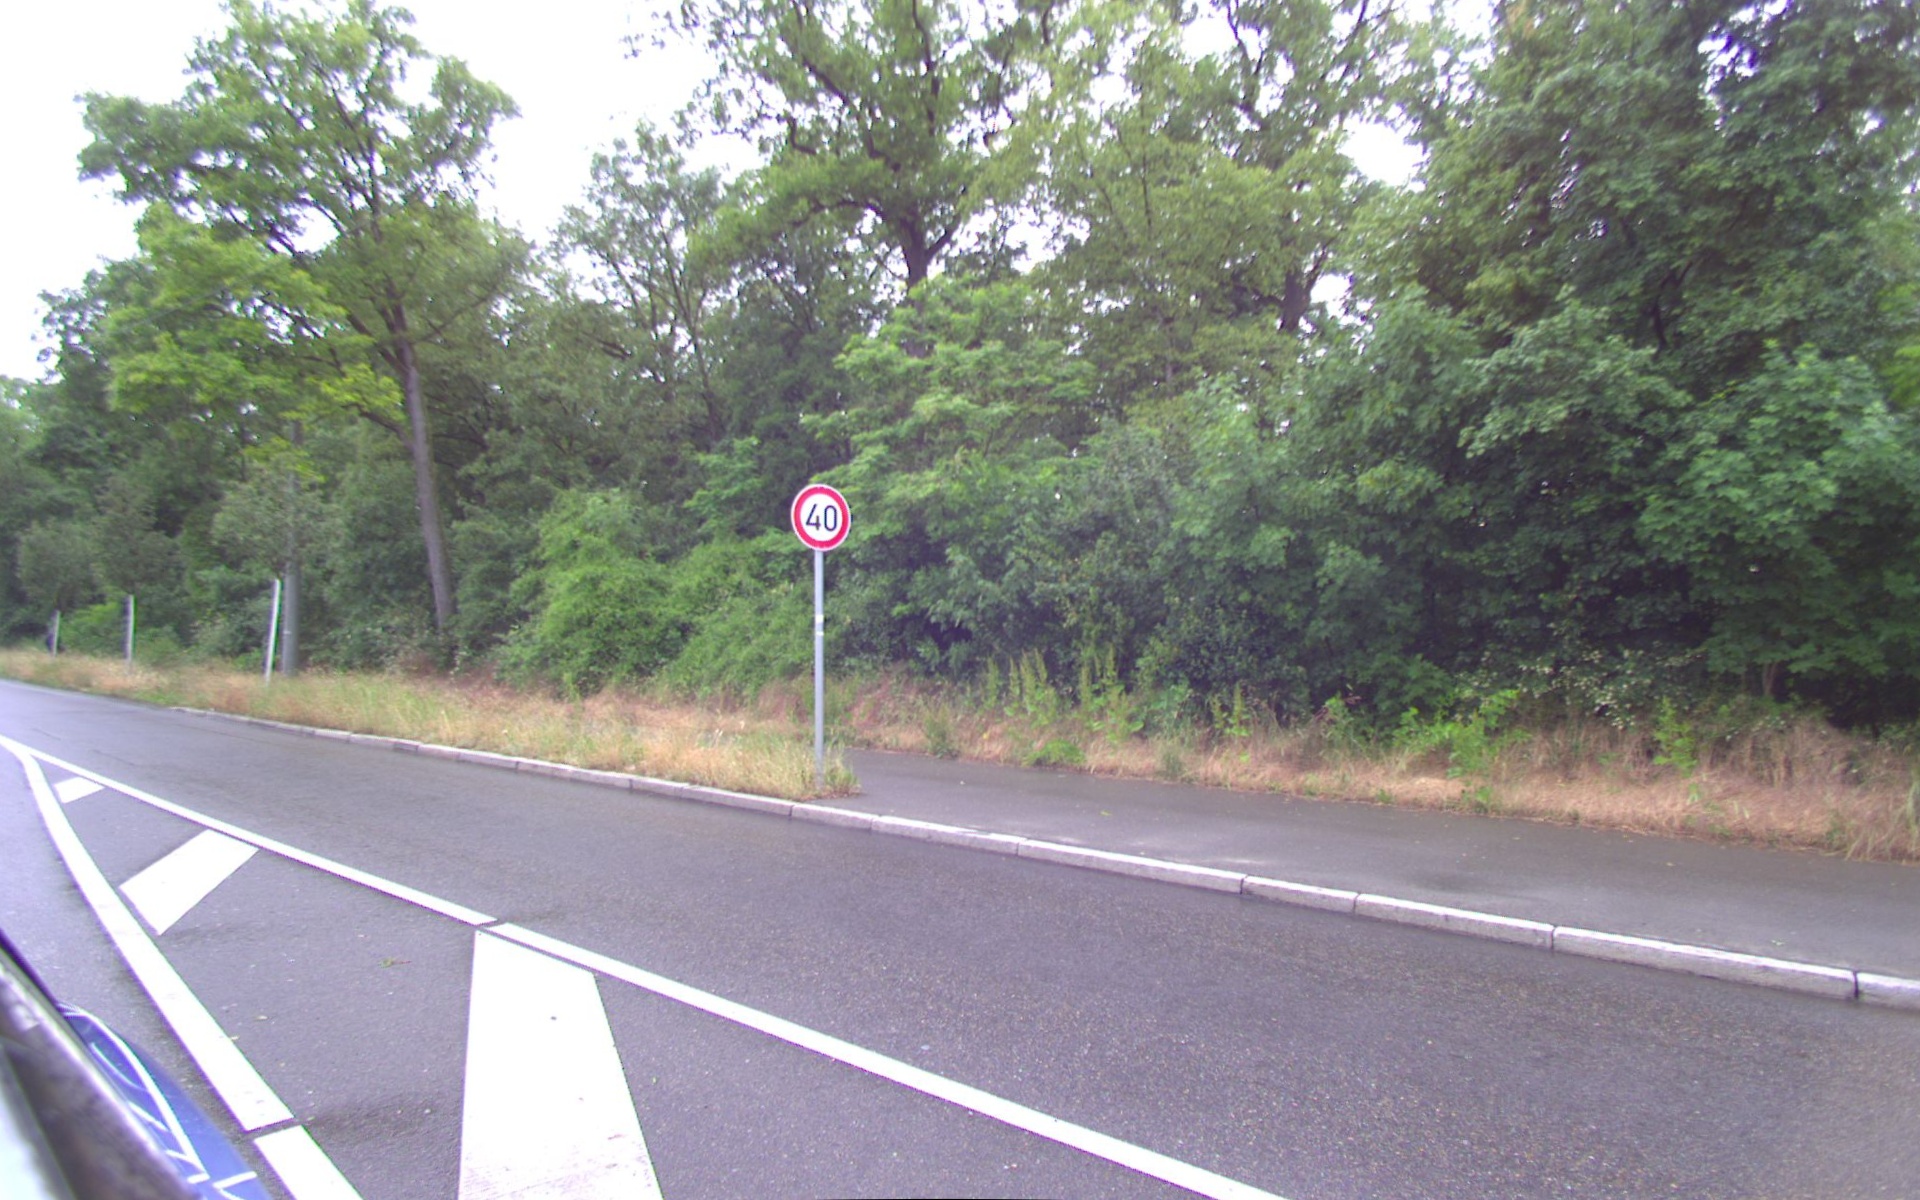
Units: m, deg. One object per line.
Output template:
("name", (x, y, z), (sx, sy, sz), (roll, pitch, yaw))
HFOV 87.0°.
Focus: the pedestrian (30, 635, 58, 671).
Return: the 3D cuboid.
("pedestrian", (-41.679, 2.390, 46.057), (0.731, 1.620, 0.773), (-2, -3, 38))
